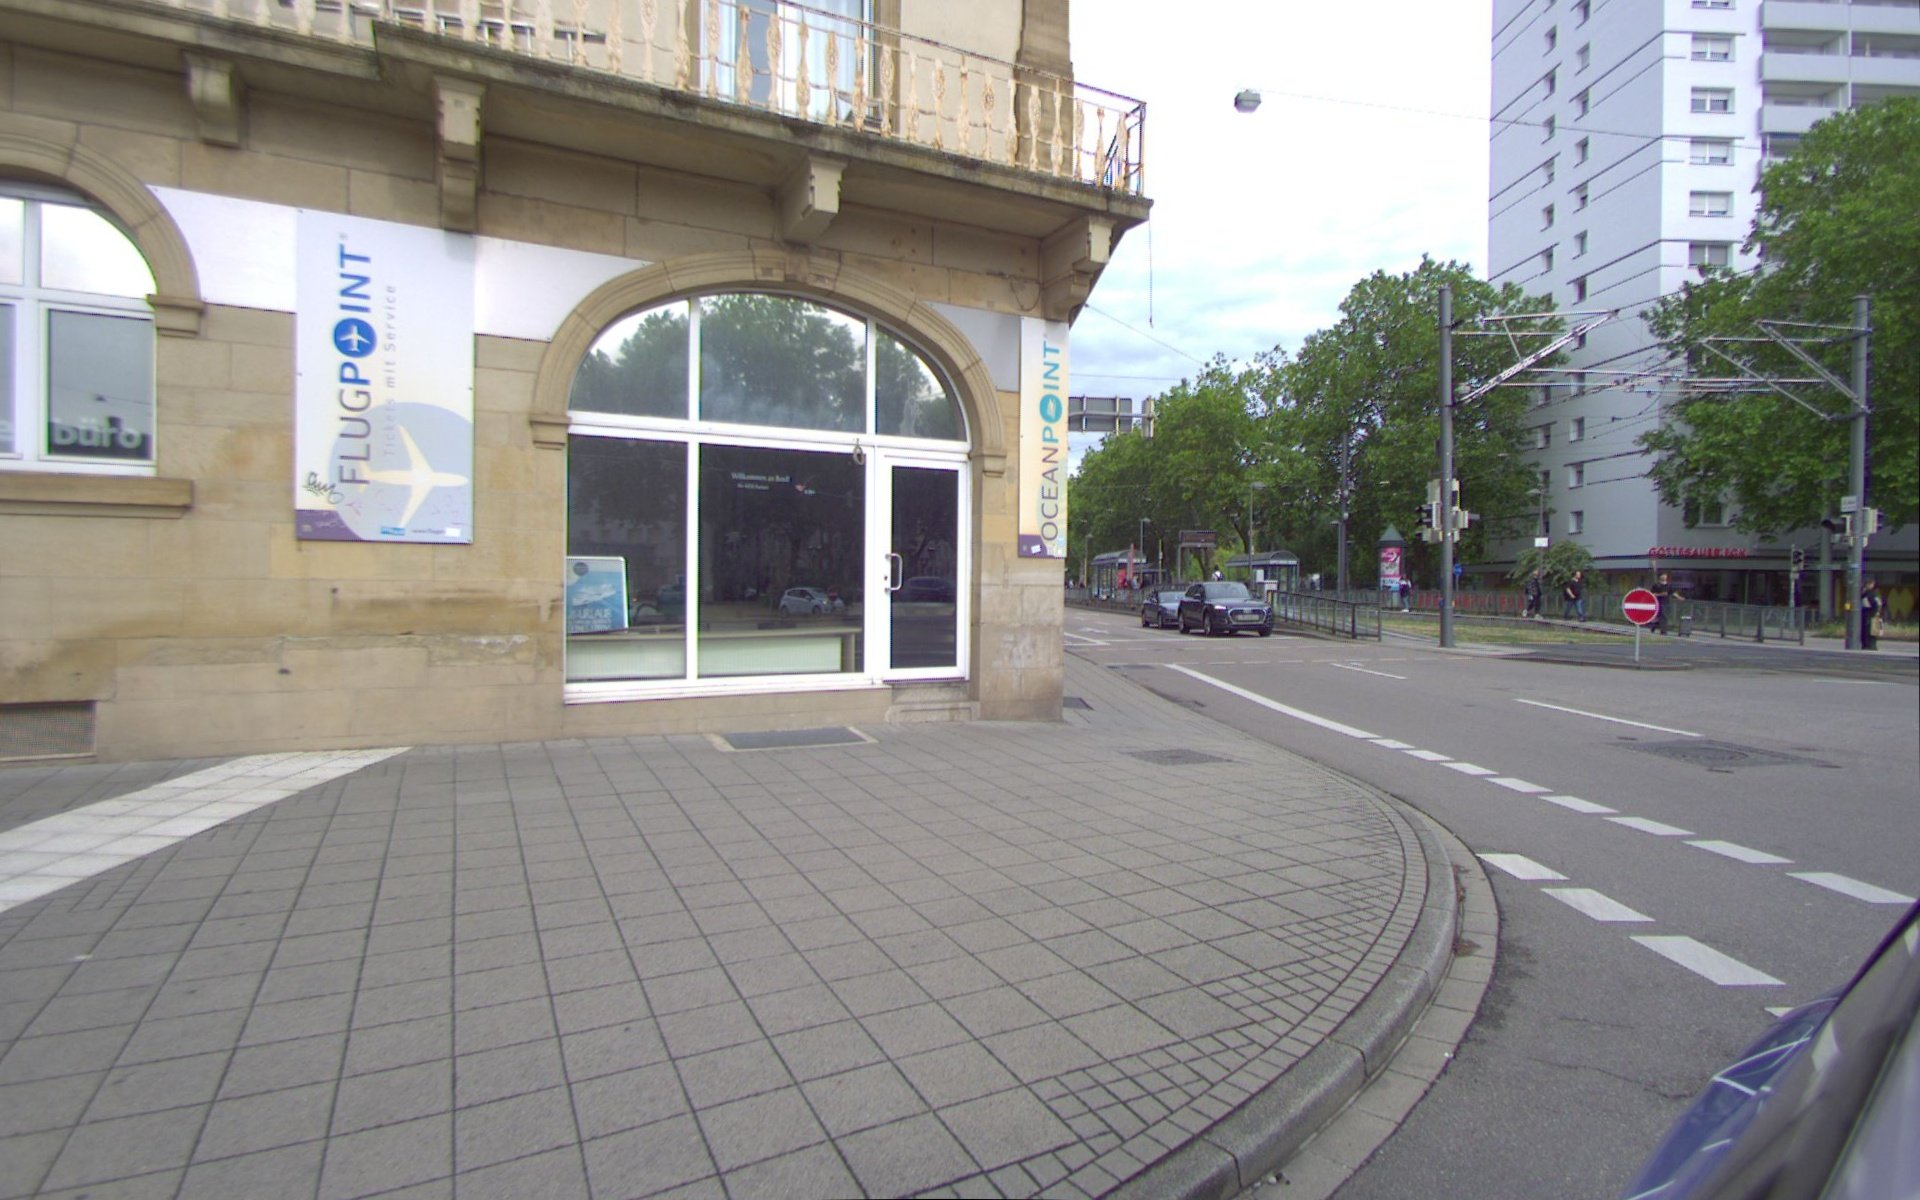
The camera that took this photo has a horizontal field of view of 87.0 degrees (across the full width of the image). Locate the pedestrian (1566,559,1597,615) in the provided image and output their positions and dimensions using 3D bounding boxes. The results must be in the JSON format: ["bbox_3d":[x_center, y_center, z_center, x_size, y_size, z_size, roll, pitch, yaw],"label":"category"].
[{"bbox_3d":[19.825,-0.408,32.275,0.610,1.773,0.548,-1,0,-1],"label":"pedestrian"}]

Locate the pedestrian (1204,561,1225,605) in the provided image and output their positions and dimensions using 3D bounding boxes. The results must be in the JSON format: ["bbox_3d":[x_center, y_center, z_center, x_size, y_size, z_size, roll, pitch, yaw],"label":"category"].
[{"bbox_3d":[10.436,-0.706,41.487,0.650,1.773,0.535,-1,0,-1],"label":"pedestrian"}]

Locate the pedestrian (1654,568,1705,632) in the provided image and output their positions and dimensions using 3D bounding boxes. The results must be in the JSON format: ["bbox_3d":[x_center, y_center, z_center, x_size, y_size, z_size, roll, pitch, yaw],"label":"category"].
[{"bbox_3d":[19.711,-0.016,27.730,0.729,1.716,0.879,-1,0,-2],"label":"pedestrian"}]

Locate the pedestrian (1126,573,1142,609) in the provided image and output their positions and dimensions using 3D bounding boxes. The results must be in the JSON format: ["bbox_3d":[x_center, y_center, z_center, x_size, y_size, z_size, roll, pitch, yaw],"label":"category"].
[{"bbox_3d":[9.168,-0.476,53.232,0.671,1.814,0.821,-1,0,1],"label":"pedestrian"}]

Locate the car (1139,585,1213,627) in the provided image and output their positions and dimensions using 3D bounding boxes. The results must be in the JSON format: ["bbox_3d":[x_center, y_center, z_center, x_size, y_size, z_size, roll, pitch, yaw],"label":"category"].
[{"bbox_3d":[7.734,0.179,36.555,1.606,1.392,4.016,-1,1,-2],"label":"car"}]

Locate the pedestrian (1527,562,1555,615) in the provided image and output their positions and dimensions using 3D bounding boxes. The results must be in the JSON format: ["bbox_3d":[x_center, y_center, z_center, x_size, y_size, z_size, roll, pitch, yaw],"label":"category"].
[{"bbox_3d":[20.049,-0.388,34.926,0.610,1.812,0.535,-1,0,-1],"label":"pedestrian"}]

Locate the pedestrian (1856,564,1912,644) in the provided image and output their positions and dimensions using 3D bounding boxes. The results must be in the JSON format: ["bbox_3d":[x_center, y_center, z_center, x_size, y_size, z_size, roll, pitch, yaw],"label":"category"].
[{"bbox_3d":[20.989,0.085,22.997,0.644,1.772,0.627,-1,0,0],"label":"pedestrian"}]

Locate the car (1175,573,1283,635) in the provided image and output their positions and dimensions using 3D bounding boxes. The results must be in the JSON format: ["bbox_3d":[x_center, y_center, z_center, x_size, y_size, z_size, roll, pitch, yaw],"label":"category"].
[{"bbox_3d":[7.970,0.077,30.394,1.881,1.668,4.370,-1,1,-2],"label":"car"}]

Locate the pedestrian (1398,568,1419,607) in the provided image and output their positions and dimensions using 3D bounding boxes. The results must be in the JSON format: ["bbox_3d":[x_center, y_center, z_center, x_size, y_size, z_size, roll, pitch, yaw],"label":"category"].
[{"bbox_3d":[19.780,-0.538,44.628,0.610,1.689,0.565,-1,0,-1],"label":"pedestrian"}]

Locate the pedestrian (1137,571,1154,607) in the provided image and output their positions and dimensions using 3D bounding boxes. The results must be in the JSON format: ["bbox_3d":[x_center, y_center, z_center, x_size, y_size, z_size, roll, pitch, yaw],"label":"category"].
[{"bbox_3d":[9.316,-0.545,50.748,0.659,1.814,0.527,-1,0,38],"label":"pedestrian"}]

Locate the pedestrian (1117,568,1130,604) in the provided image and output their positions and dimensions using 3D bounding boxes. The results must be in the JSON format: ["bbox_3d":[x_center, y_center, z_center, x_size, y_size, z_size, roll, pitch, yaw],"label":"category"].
[{"bbox_3d":[9.417,-0.800,58.229,0.575,2.076,0.821,-1,0,1],"label":"pedestrian"}]
